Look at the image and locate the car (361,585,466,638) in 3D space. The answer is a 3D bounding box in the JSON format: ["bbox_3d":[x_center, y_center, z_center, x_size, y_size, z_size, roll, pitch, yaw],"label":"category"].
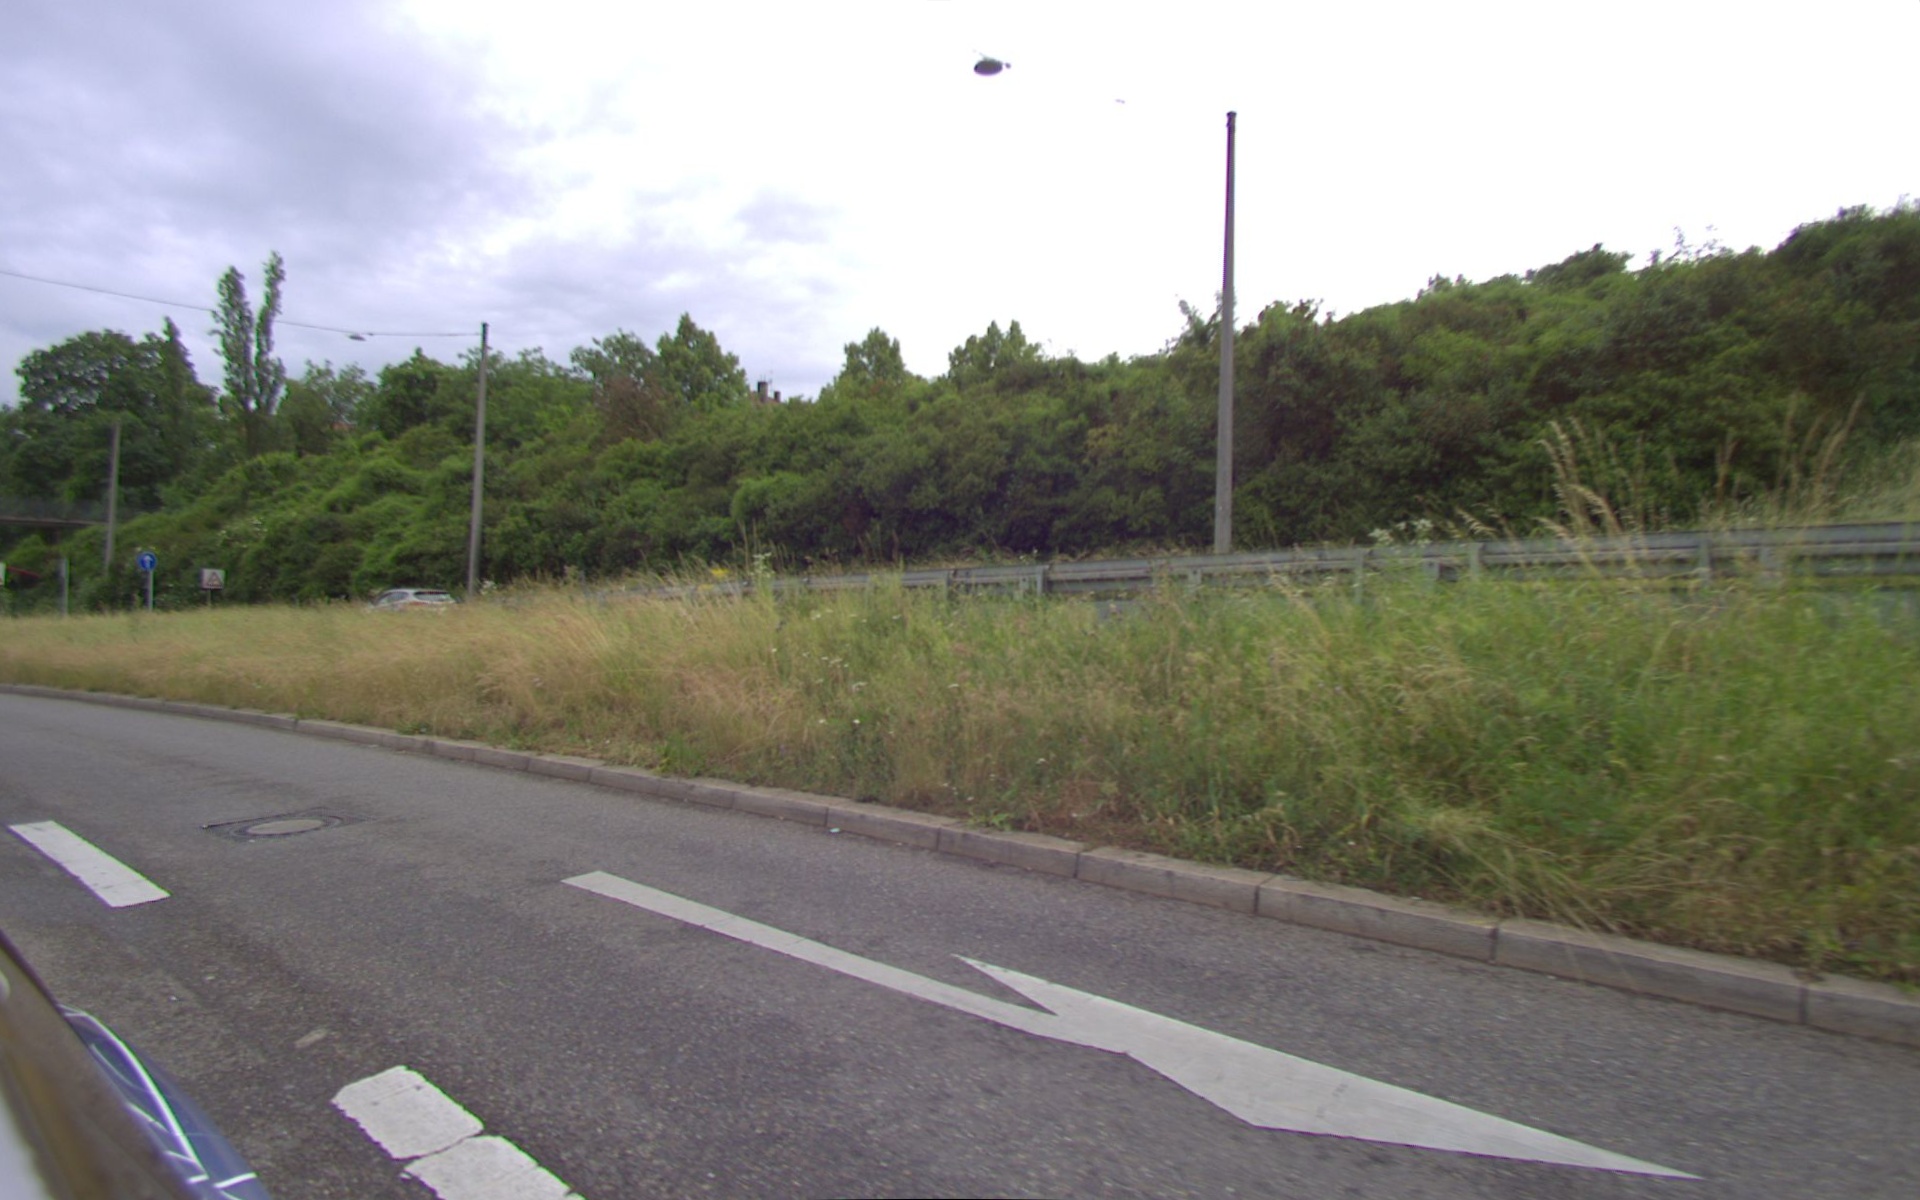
[{"bbox_3d":[-18.436,0.436,34.093,3.673,1.529,1.718,-1,-9,39],"label":"car"}]
